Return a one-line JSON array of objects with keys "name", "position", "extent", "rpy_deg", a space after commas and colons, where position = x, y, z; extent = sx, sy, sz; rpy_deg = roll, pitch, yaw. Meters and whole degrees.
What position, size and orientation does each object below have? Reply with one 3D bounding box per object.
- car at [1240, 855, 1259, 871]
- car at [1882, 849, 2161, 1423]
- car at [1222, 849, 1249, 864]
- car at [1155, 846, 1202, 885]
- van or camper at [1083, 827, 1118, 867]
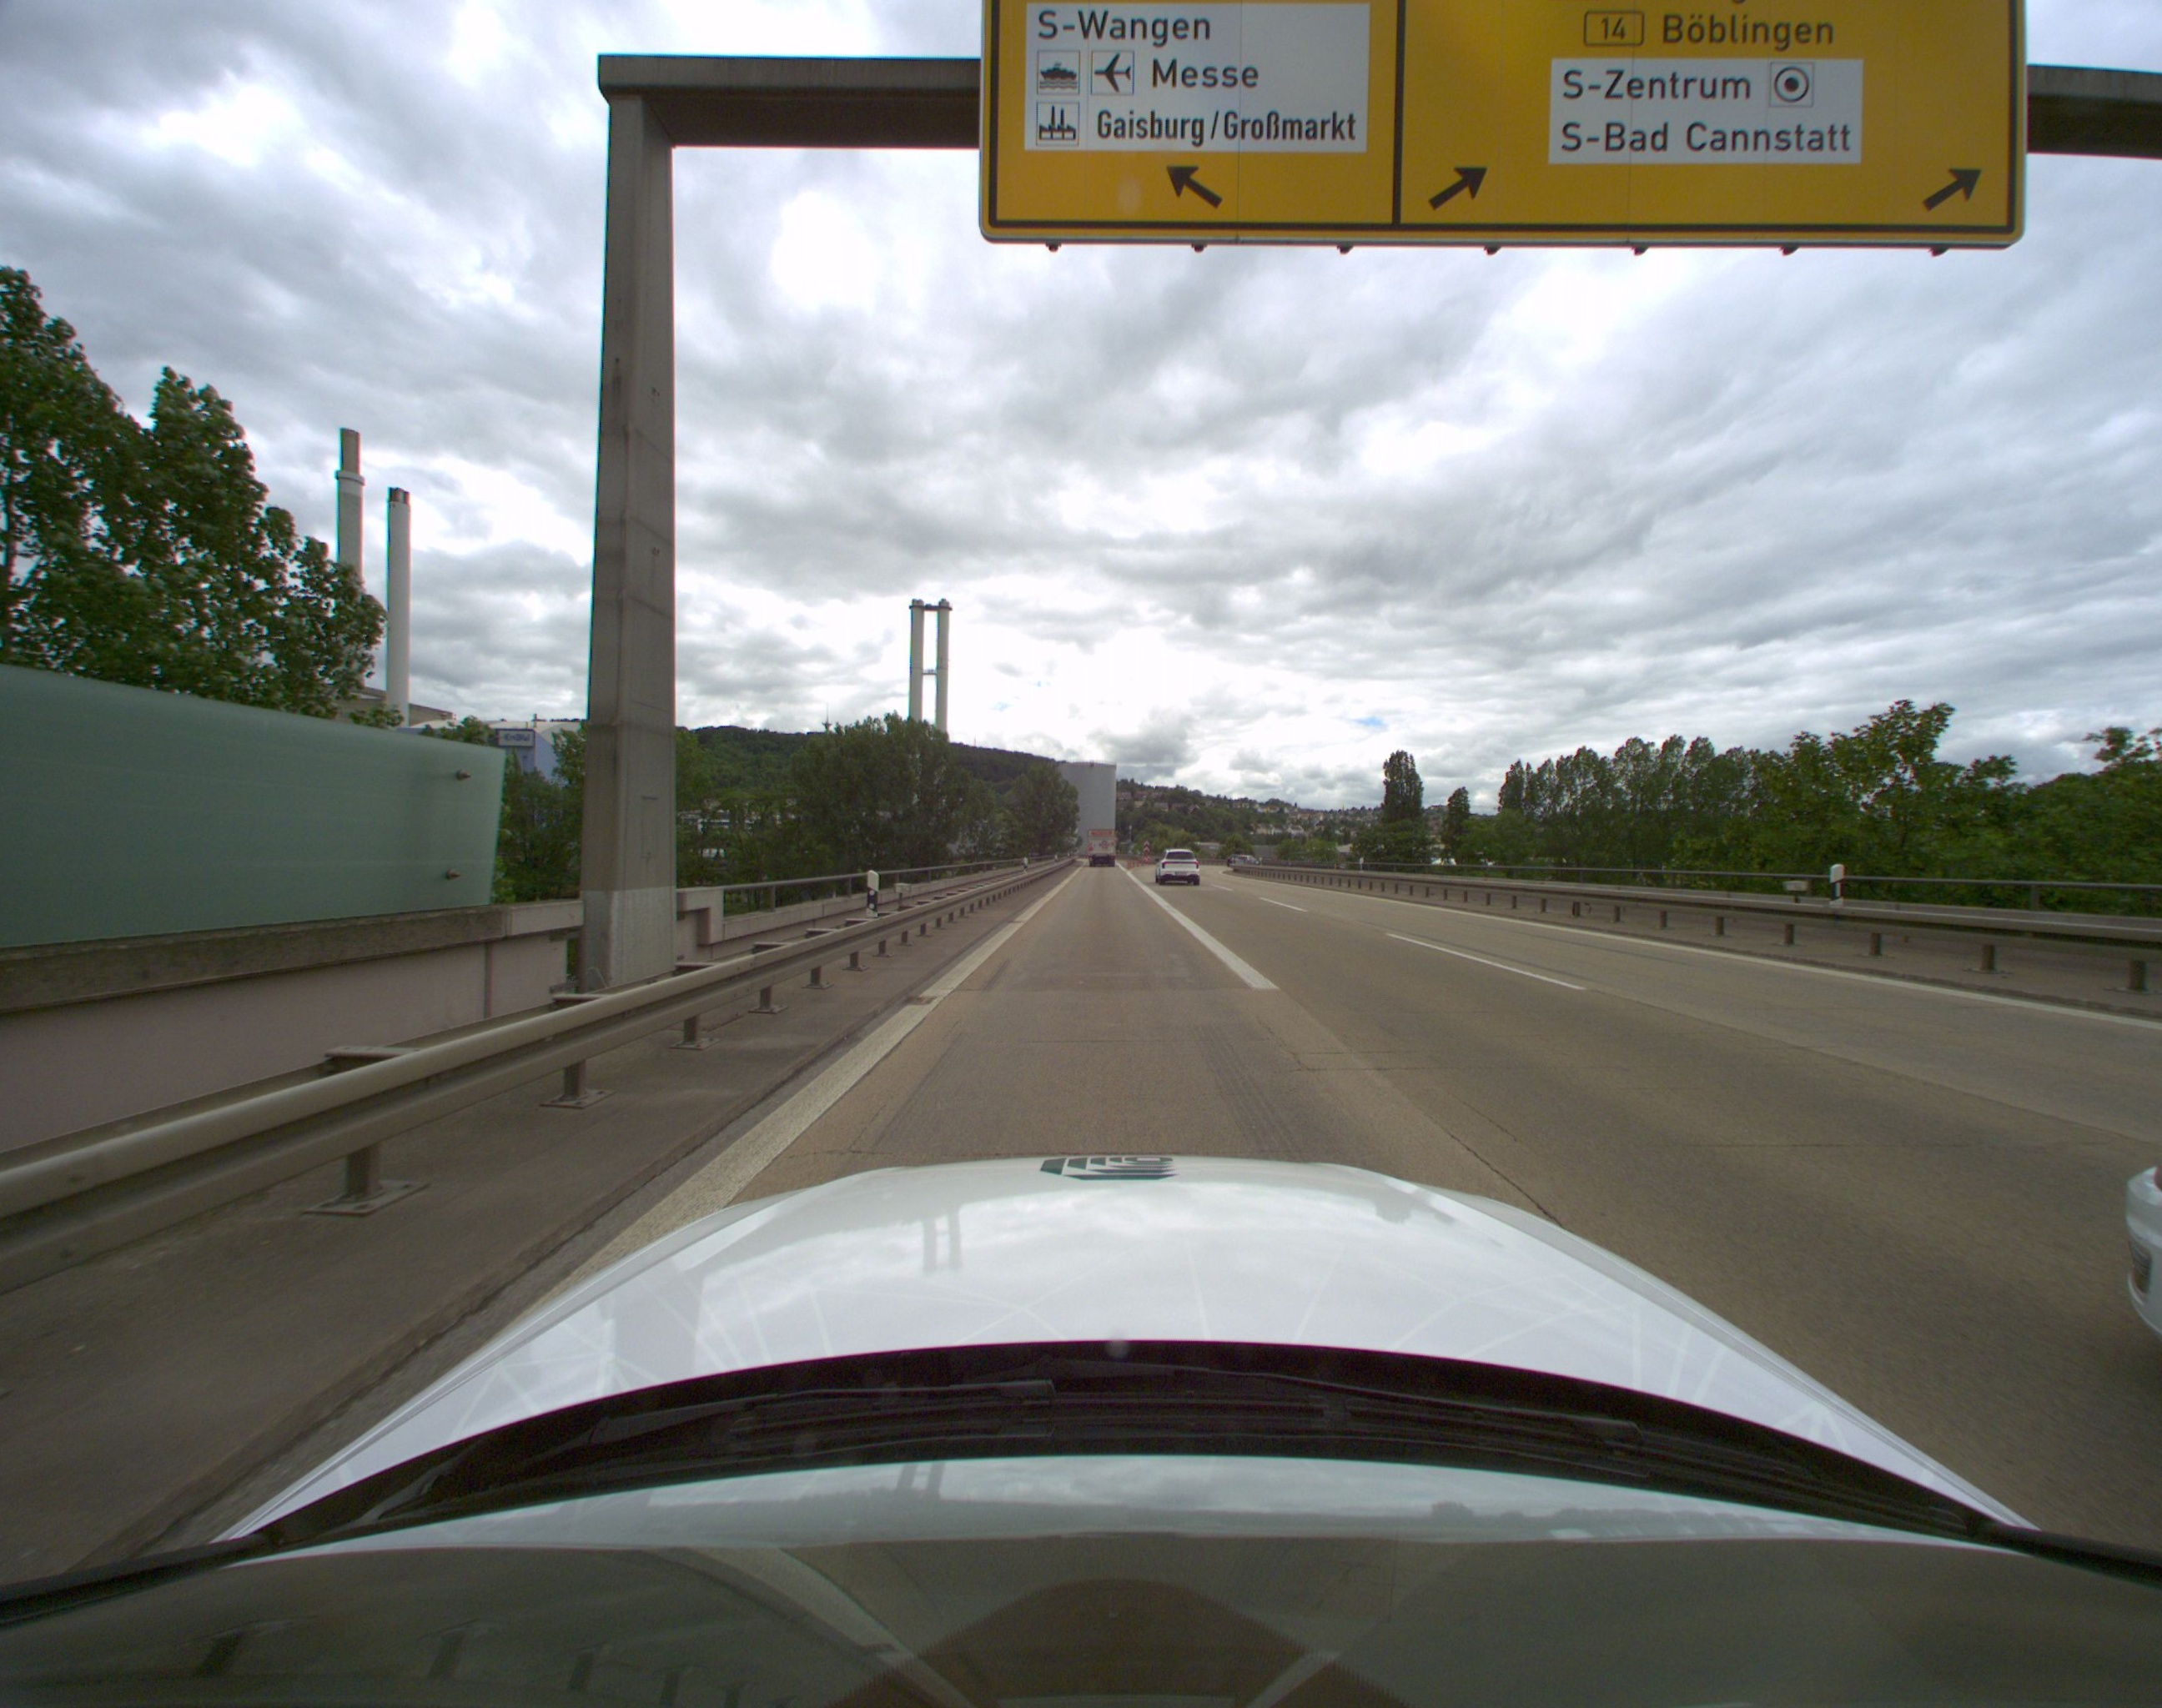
[{"name": "car", "position": [20.170, 1.074, 97.380], "extent": [1.909, 1.785, 4.131], "rpy_deg": [0, 1, 16]}, {"name": "car", "position": [3.622, 0.730, 0.773], "extent": [1.748, 1.451, 4.072], "rpy_deg": [-1, 0, 0]}, {"name": "car", "position": [19.963, 0.314, 105.030], "extent": [1.905, 1.785, 4.139], "rpy_deg": [0, 1, 34]}, {"name": "car", "position": [4.591, 0.503, 38.859], "extent": [1.916, 1.785, 4.116], "rpy_deg": [0, 1, 3]}, {"name": "van or camper", "position": [1.963, -0.629, 78.582], "extent": [3.110, 3.579, 8.555], "rpy_deg": [-1, 0, 2]}]
